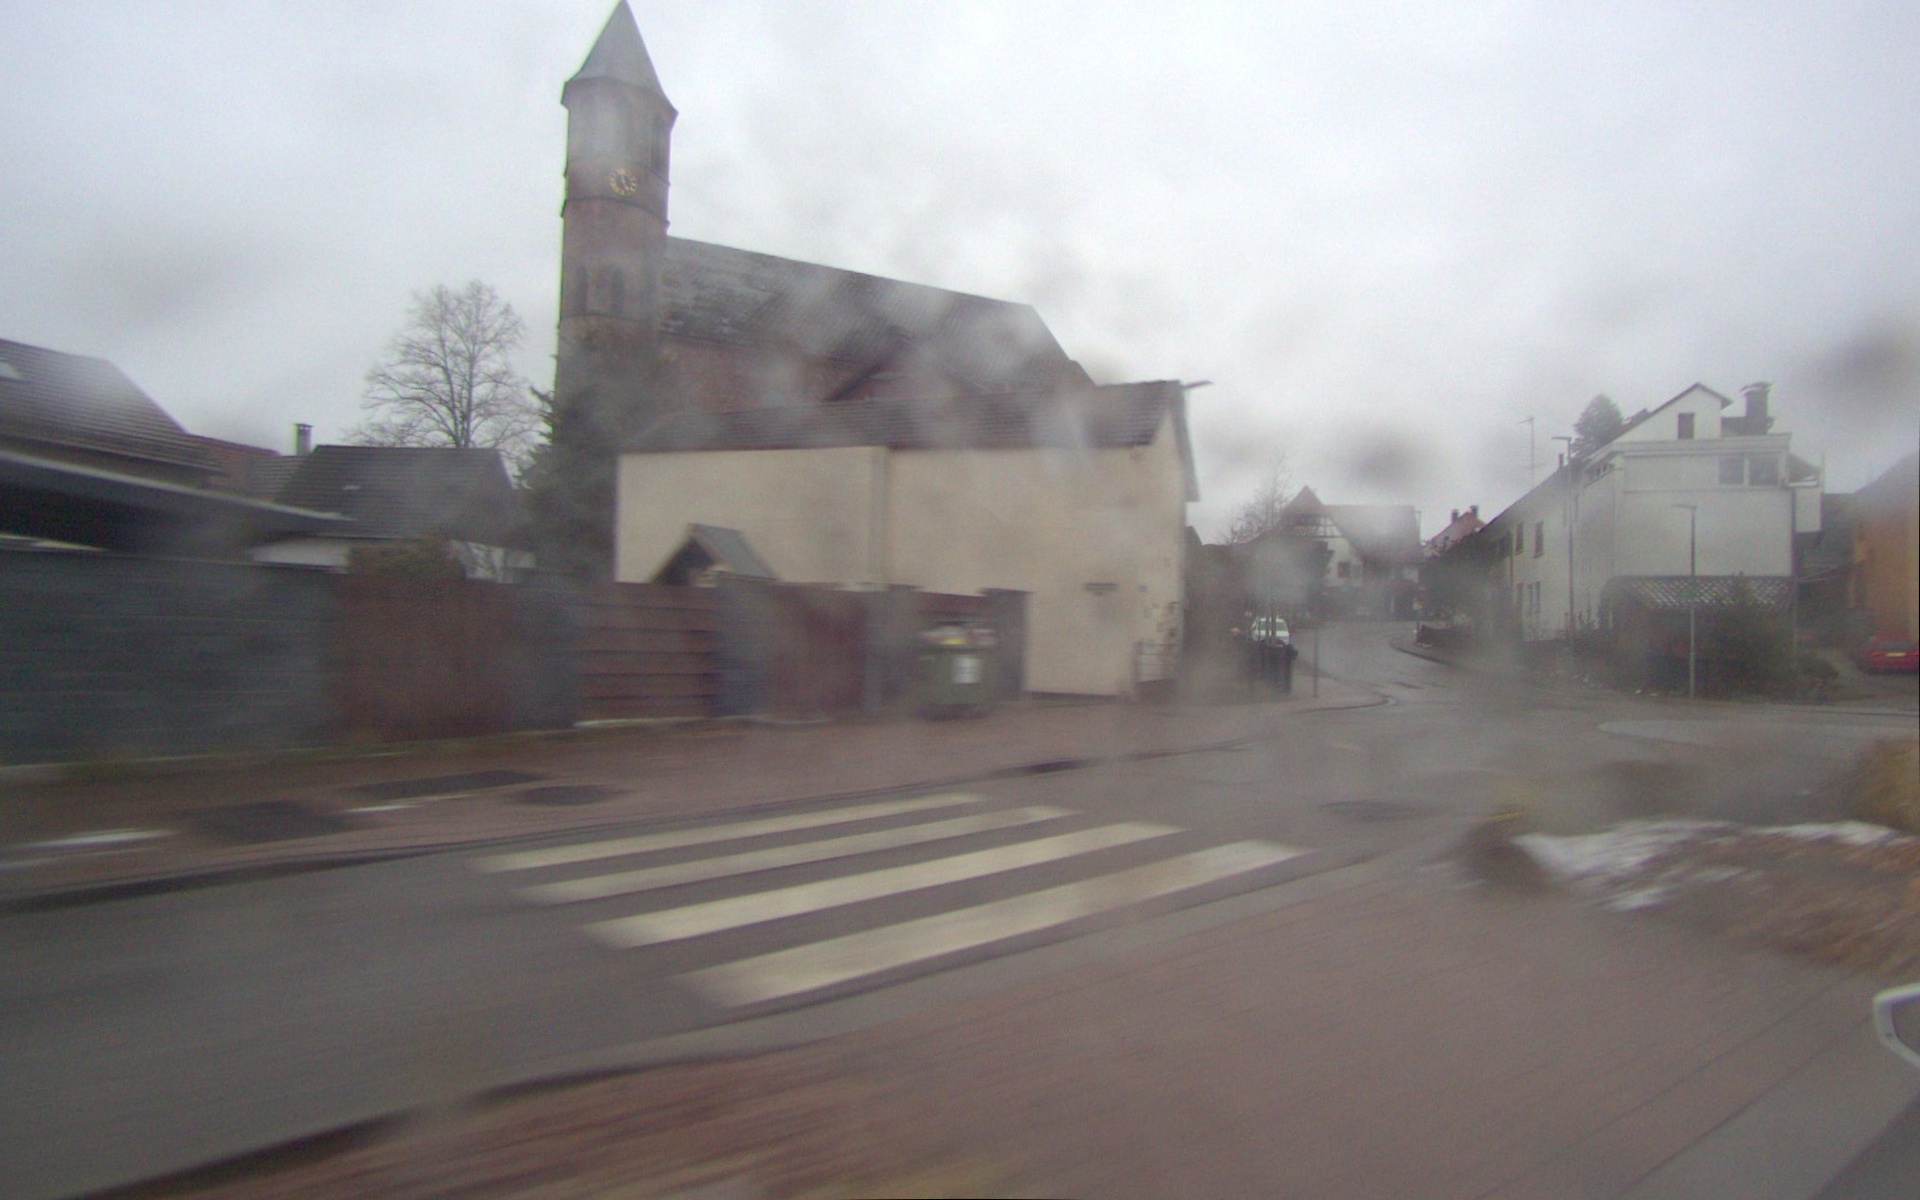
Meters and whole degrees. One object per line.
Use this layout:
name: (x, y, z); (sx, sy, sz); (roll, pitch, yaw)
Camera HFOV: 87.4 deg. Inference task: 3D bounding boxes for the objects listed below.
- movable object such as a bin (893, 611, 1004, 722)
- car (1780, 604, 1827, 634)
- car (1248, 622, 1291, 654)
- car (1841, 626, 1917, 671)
movable object such as a bin: (-0.165, 0.971, 15.104); (1.279, 1.563, 1.086); (2, -2, -42)
car: (48.641, 1.124, 57.964); (1.970, 1.666, 3.982); (0, -1, 39)
car: (15.534, 1.889, 50.290); (1.895, 1.537, 4.001); (0, -2, 19)
car: (36.549, 1.891, 40.043); (1.970, 1.666, 3.982); (0, -1, 39)
